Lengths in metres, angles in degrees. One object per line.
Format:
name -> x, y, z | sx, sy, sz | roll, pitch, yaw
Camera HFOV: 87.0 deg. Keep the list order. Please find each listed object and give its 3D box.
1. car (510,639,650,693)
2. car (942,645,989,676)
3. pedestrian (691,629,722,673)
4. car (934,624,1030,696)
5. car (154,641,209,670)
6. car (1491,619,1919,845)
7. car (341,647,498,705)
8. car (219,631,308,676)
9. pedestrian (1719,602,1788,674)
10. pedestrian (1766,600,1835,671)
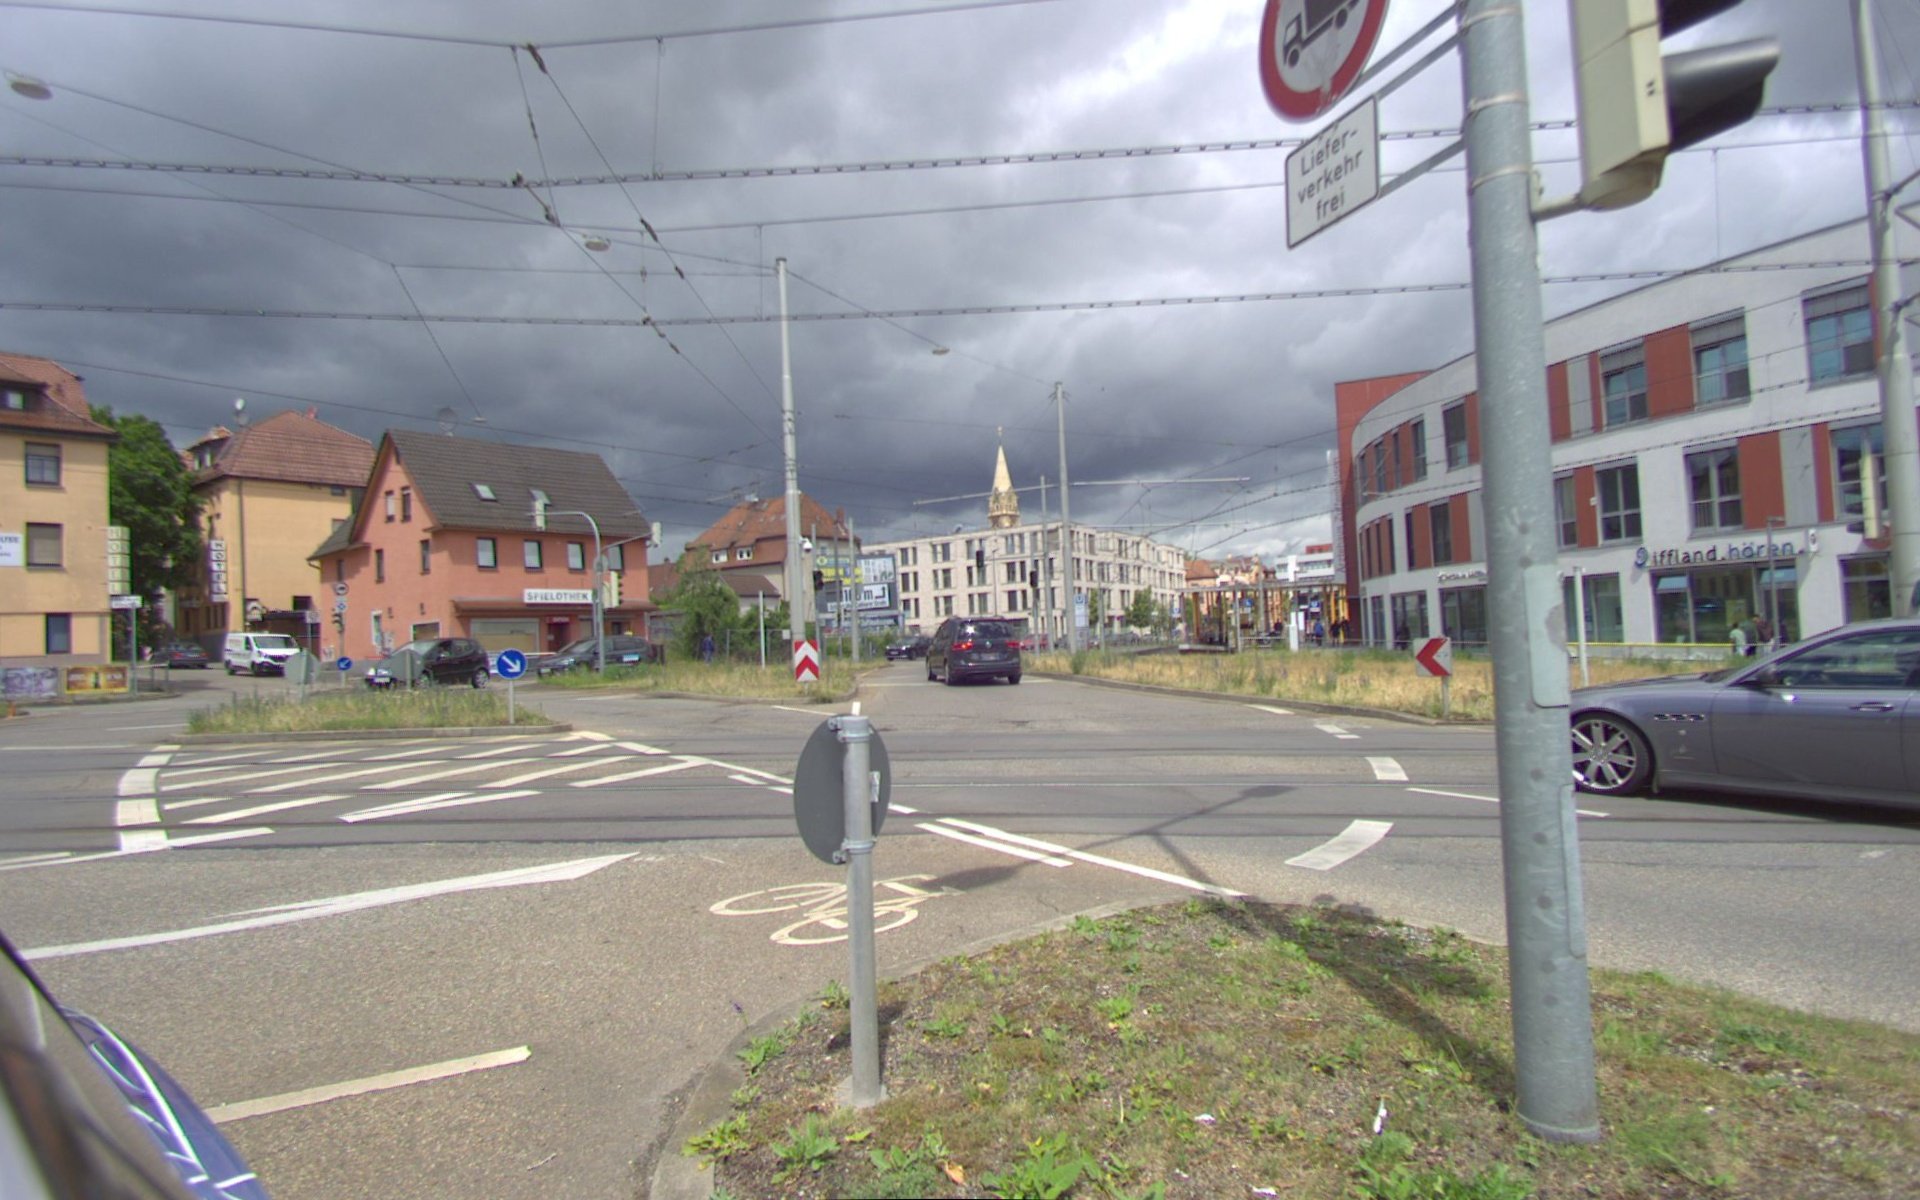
car -> -13.471, 2.316, 36.103 | 1.993, 1.662, 4.373 | -4, -3, 31
car -> 0.246, 3.310, 55.811 | 1.923, 1.581, 4.495 | 2, -3, -8
pedestrian -> -12.675, 2.530, 50.643 | 1.052, 2.164, 1.113 | -3, -3, 41
car -> 0.439, 1.395, 24.878 | 1.783, 1.592, 4.302 | -1, -1, -6
car -> -41.337, 2.953, 53.734 | 3.127, 1.381, 1.543 | -5, -3, 37
car -> 6.725, 0.849, 7.064 | 1.774, 1.421, 5.063 | 0, -1, -37
car -> -15.772, 2.196, 29.783 | 1.866, 1.439, 3.981 | -4, -2, 14
car -> -32.438, 2.500, 47.091 | 4.654, 1.912, 2.055 | -3, -1, 37
pedestrian -> 23.007, 1.100, 29.351 | 1.236, 2.029, 1.143 | 0, -2, -30
pedestrian -> 24.539, 1.036, 29.561 | 1.236, 2.029, 1.143 | 0, -2, -30
